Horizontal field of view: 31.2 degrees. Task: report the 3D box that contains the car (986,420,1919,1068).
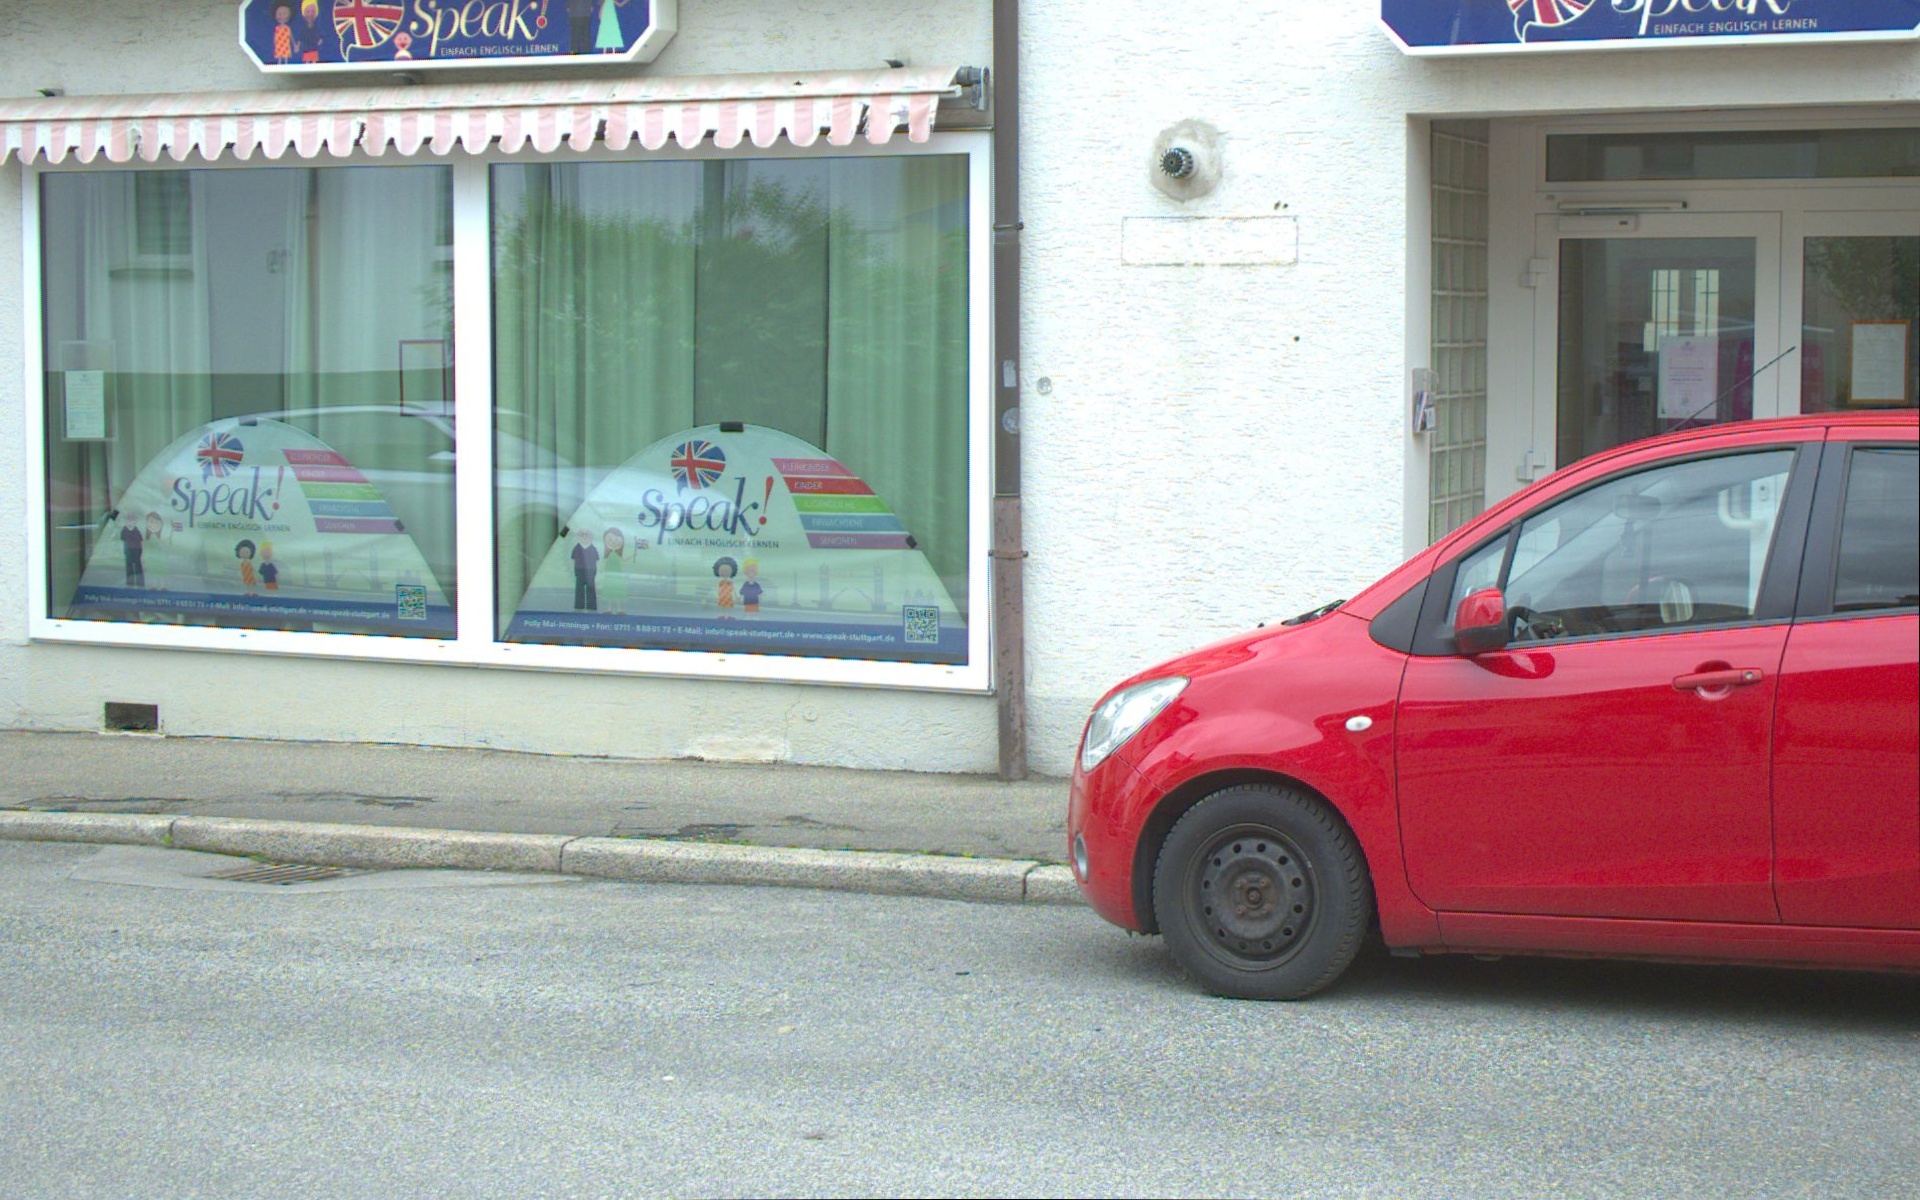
[{"bbox_3d":[2.102,0.310,9.263,3.688,1.551,1.695,1,2,27],"label":"car"}]
